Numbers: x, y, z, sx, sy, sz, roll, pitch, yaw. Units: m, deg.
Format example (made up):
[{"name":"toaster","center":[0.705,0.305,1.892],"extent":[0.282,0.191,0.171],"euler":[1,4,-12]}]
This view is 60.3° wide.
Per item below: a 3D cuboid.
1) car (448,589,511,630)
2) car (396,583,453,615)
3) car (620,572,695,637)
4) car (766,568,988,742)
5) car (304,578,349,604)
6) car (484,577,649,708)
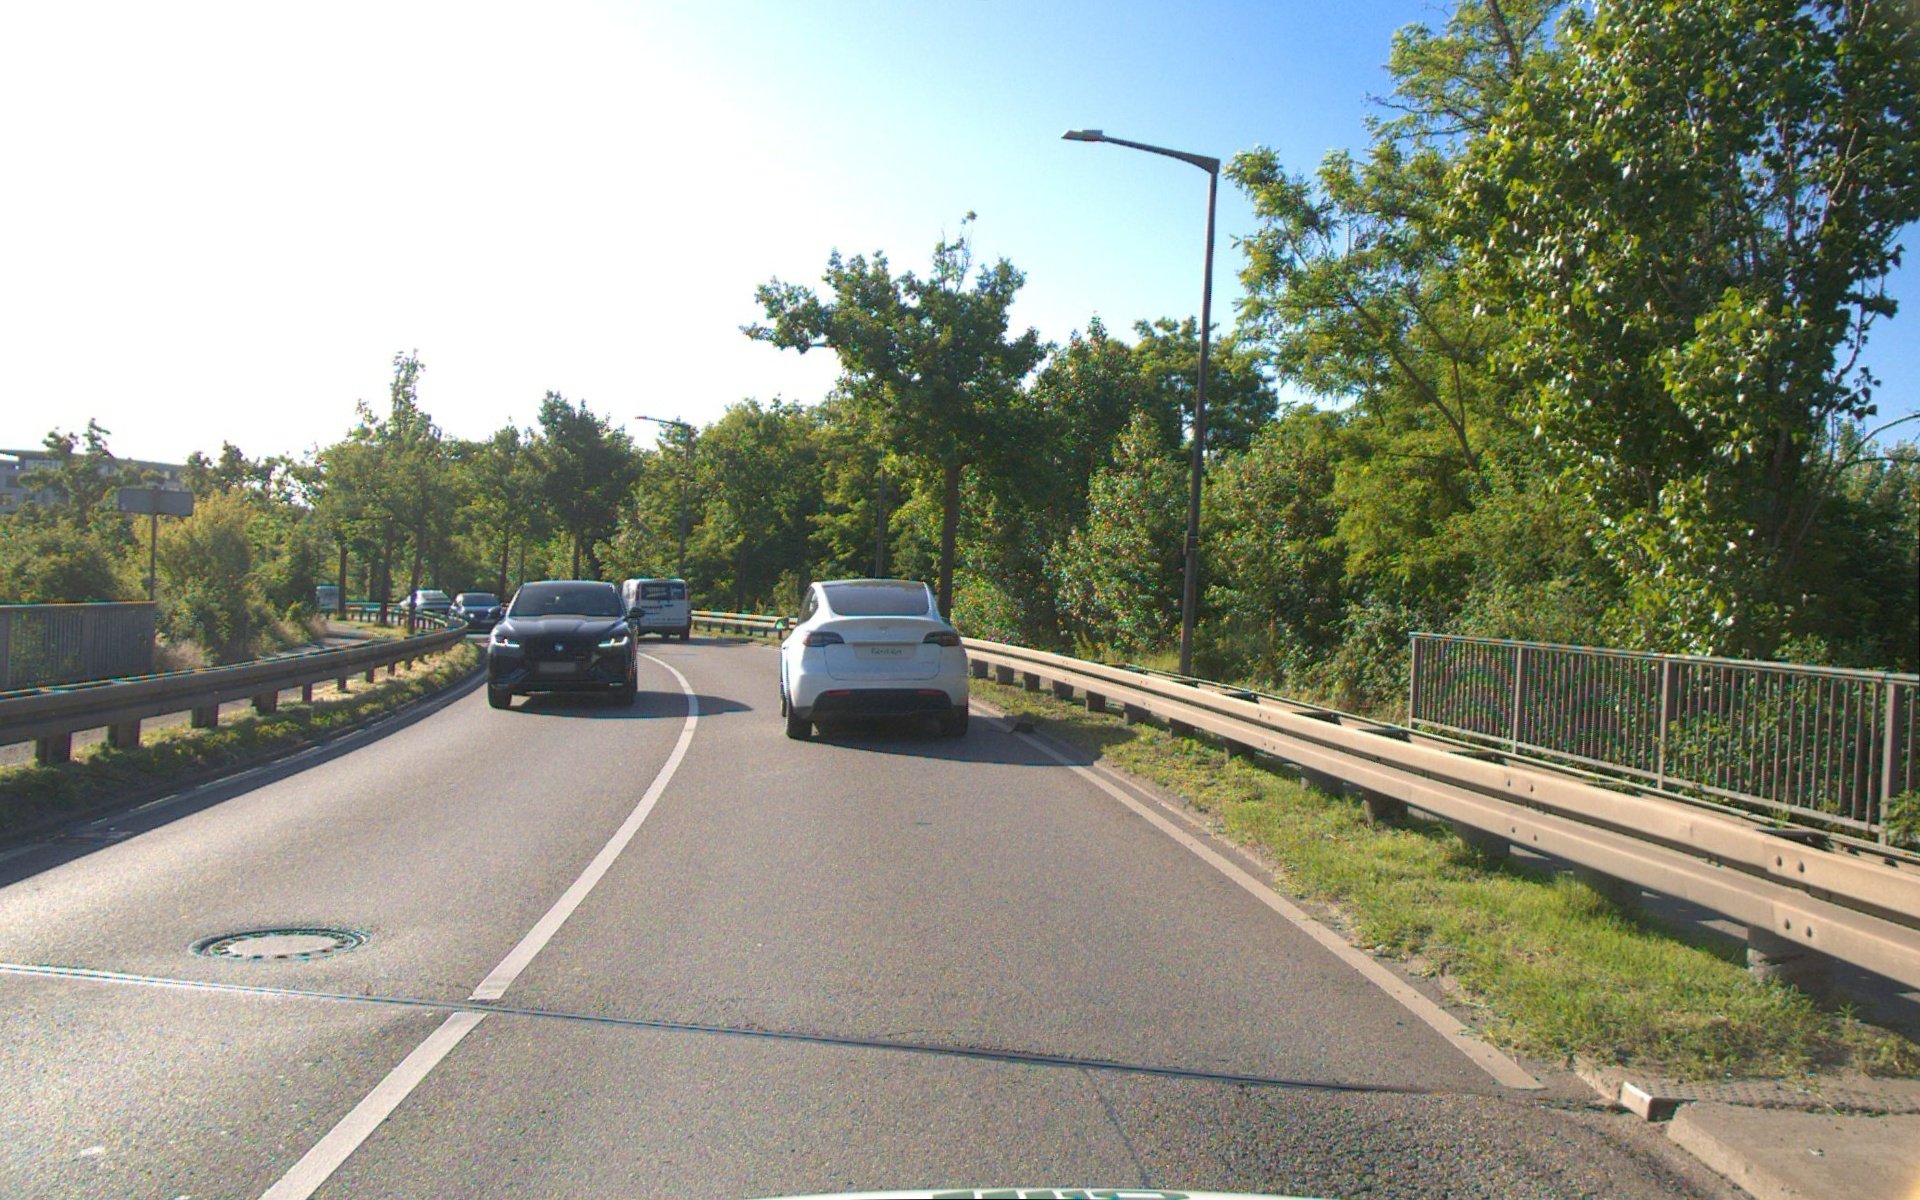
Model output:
[{"name":"car","center":[-17.865,0.337,61.412],"extent":[1.768,1.456,3.798],"euler":[0,1,-24]},{"name":"car","center":[-27.746,-0.069,85.705],"extent":[1.843,1.612,3.868],"euler":[0,1,-34]},{"name":"car","center":[-9.570,0.105,52.049],"extent":[1.972,1.974,4.449],"euler":[0,1,-15]},{"name":"car","center":[-1.036,0.516,18.193],"extent":[1.949,1.666,4.053],"euler":[-1,1,-10]},{"name":"car","center":[-39.936,-0.596,104.206],"extent":[1.820,1.583,3.845],"euler":[0,1,-35]},{"name":"car","center":[-5.425,0.512,23.307],"extent":[1.863,1.671,4.455],"euler":[0,1,-8]}]
